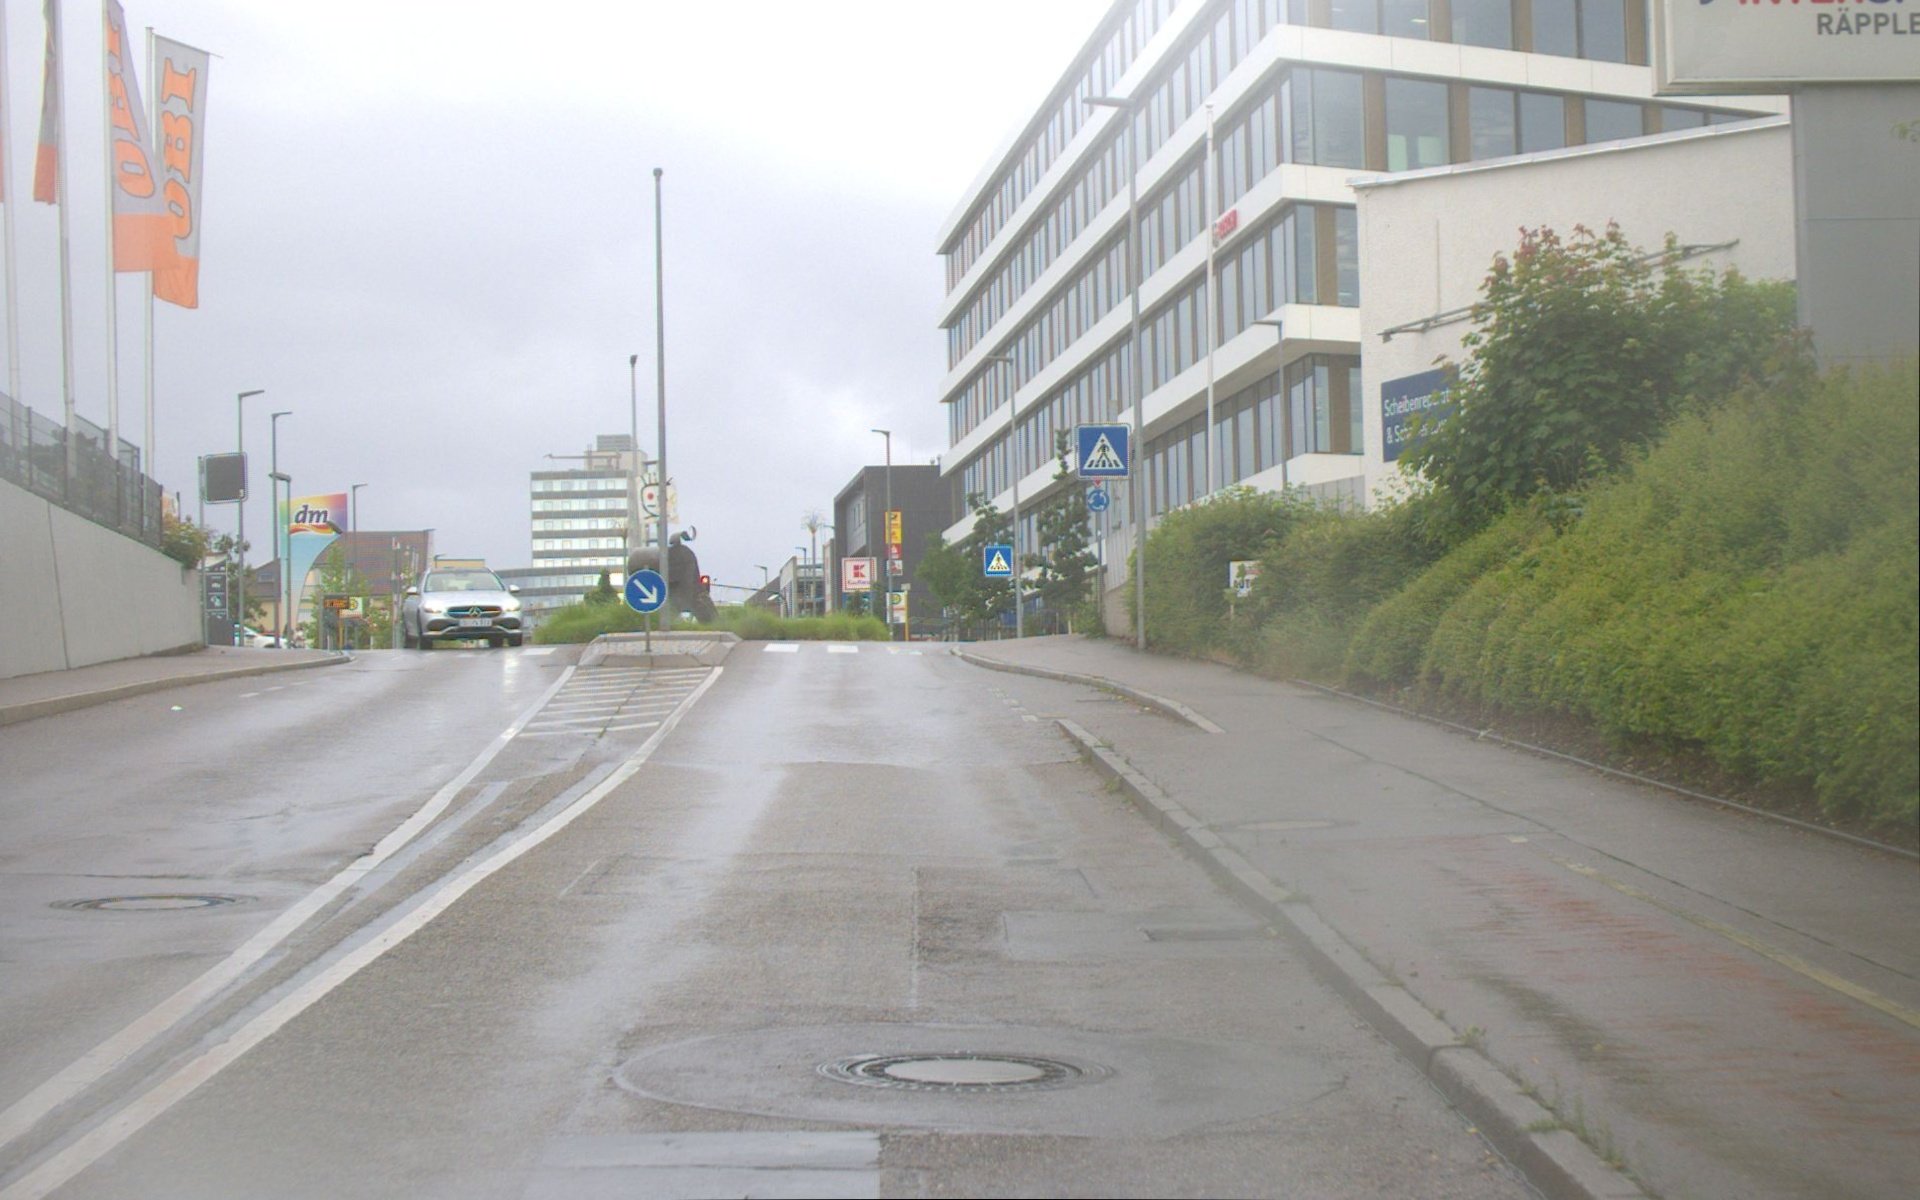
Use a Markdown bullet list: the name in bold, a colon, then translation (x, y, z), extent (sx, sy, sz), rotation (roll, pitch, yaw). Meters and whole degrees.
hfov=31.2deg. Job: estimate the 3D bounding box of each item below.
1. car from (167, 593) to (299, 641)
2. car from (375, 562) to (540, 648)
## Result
- **car**: translation (-24.918, 0.610, 117.941), extent (4.021, 1.415, 1.768), rotation (3, -4, -34)
- **car**: translation (-9.116, 0.062, 62.016), extent (2.000, 1.421, 4.783), rotation (1, 1, -20)
